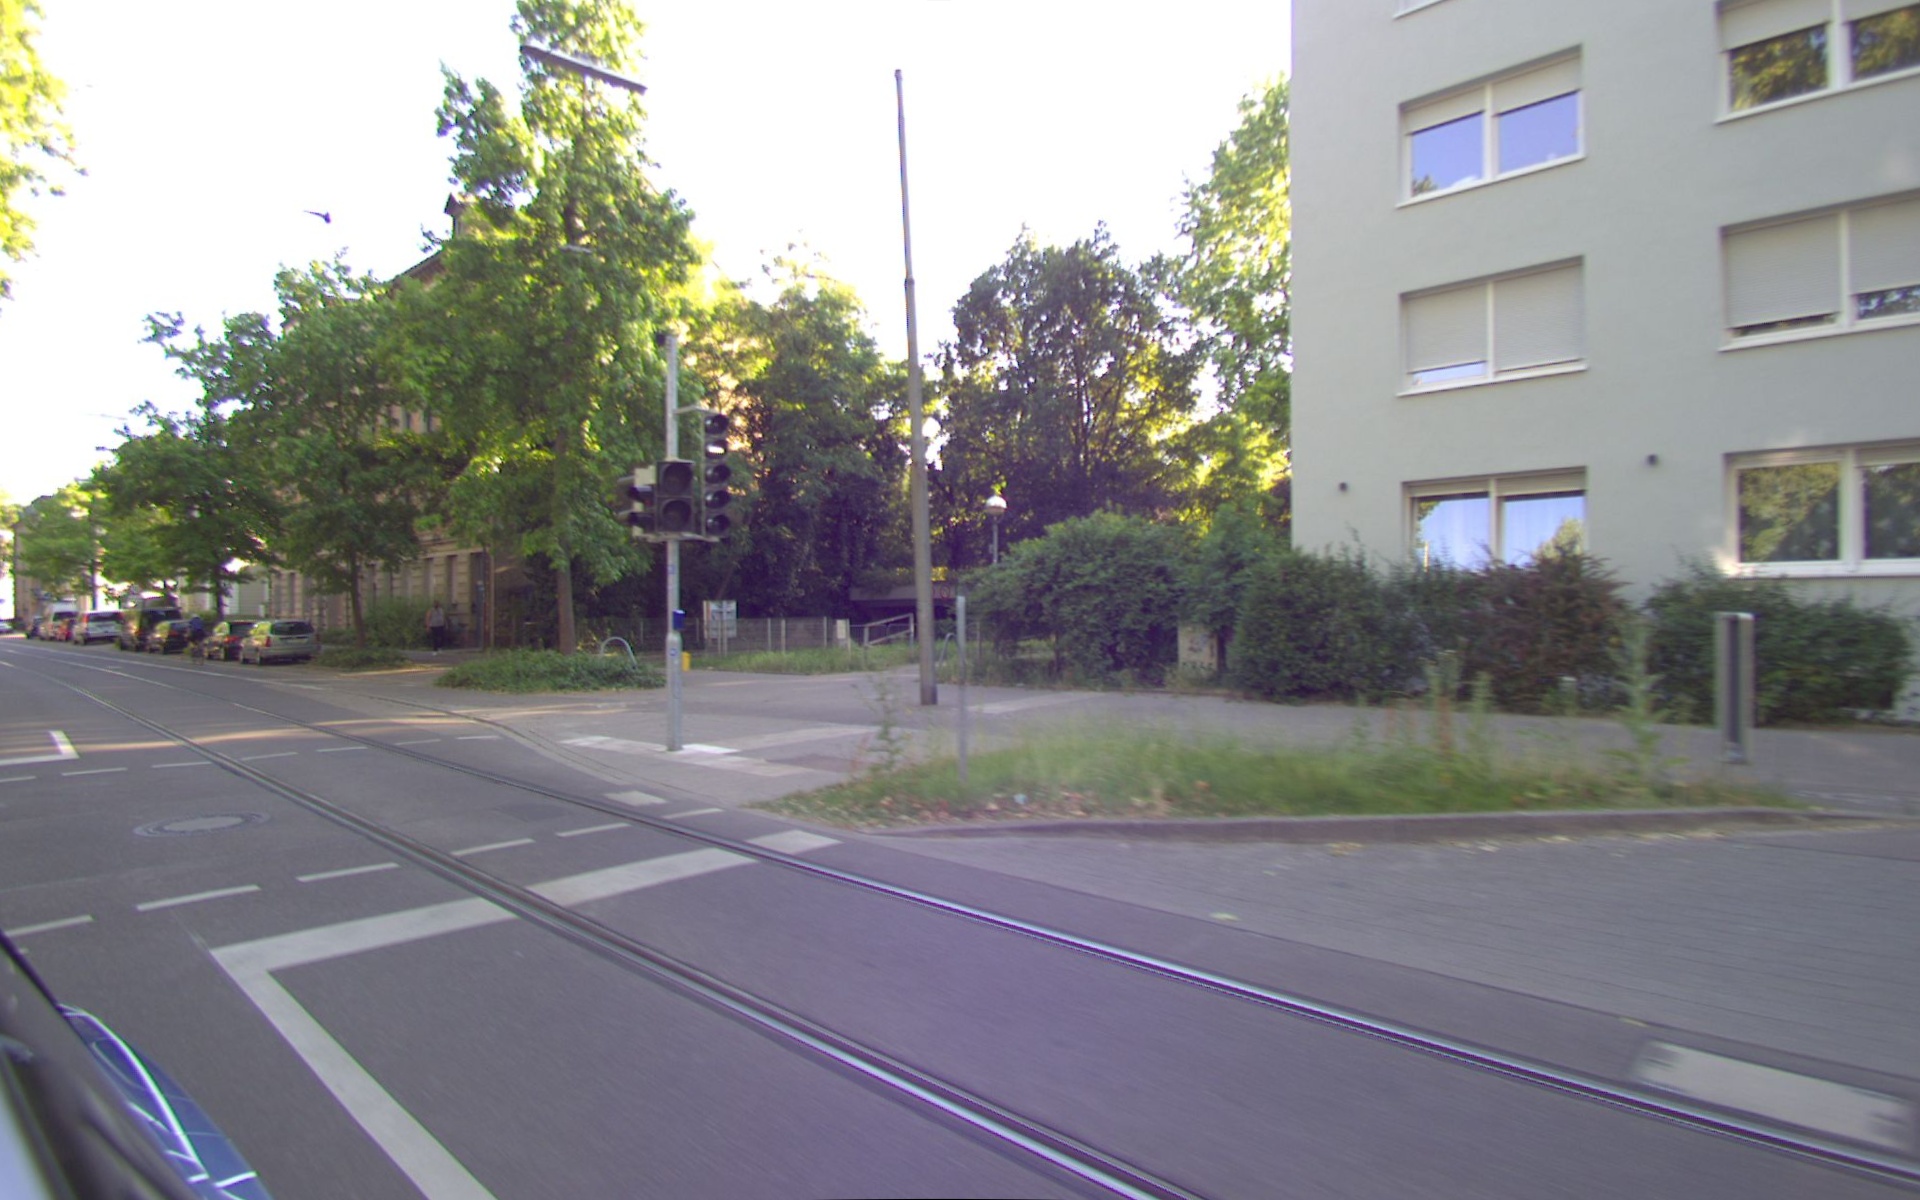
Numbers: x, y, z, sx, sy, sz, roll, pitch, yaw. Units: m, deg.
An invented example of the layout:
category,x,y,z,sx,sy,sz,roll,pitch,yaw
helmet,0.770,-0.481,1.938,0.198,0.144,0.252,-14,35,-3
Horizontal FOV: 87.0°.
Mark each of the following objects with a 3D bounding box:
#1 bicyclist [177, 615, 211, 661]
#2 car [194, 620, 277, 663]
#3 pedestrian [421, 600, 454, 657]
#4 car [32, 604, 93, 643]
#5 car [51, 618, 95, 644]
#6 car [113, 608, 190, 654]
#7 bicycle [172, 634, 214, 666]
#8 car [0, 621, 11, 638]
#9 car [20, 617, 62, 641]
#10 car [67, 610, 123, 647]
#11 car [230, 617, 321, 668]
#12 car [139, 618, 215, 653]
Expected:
category,x,y,z,sx,sy,sz,roll,pitch,yaw
bicyclist,-25.072,1.235,33.132,0.836,1.466,0.634,-1,-5,41
car,-26.681,1.495,37.229,3.947,1.456,1.641,-1,-1,41
pedestrian,-17.582,0.949,34.053,0.728,1.861,0.734,-1,0,40
car,-59.916,1.557,67.520,5.339,2.527,2.280,-1,-1,40
car,-56.276,1.960,64.187,3.706,1.551,1.667,-1,-1,41
car,-38.089,1.431,47.655,4.831,2.029,1.973,-1,-1,41
bicycle,-25.099,1.621,33.104,2.100,0.994,0.634,-1,-5,41
car,-87.429,2.684,91.437,4.936,1.504,1.754,-1,0,39
car,-66.829,2.080,73.572,4.263,1.703,1.970,-1,-1,44
car,-48.827,1.569,57.117,4.987,2.004,1.824,-1,-1,43
car,-22.953,1.383,33.864,4.538,1.562,1.680,-1,-1,45
car,-34.531,1.551,44.576,4.267,1.469,1.834,-1,-1,41
